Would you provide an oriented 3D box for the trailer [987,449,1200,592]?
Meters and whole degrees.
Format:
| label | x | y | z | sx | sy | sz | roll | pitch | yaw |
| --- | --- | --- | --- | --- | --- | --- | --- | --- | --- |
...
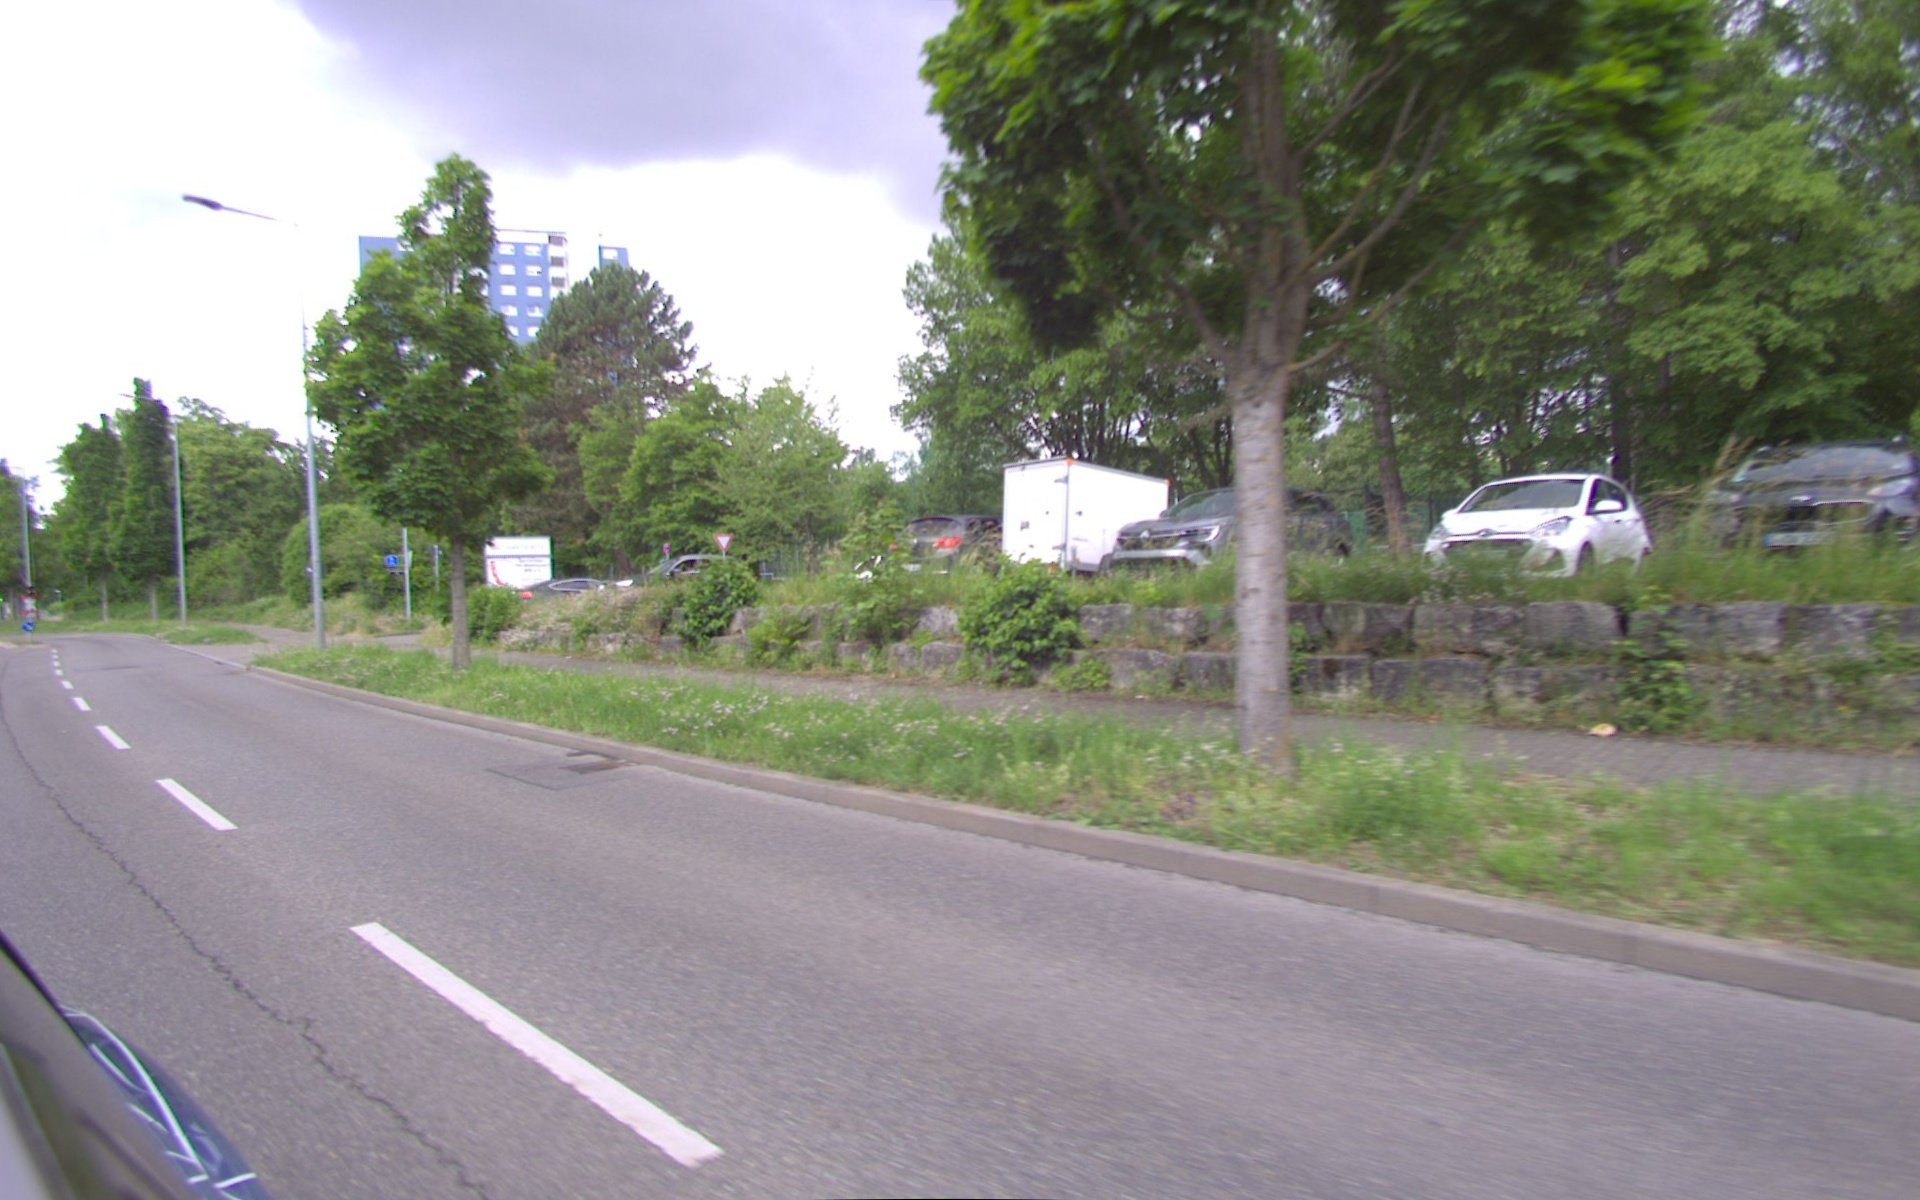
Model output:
| label | x | y | z | sx | sy | sz | roll | pitch | yaw |
| --- | --- | --- | --- | --- | --- | --- | --- | --- | --- |
| trailer | 2.245 | -1.217 | 16.593 | 3.325 | 2.073 | 1.680 | -2 | 1 | -42 |

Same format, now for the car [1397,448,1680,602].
| label | x | y | z | sx | sy | sz | roll | pitch | yaw |
| --- | --- | --- | --- | --- | --- | --- | --- | --- | --- |
| car | 7.011 | -0.831 | 12.096 | 3.986 | 1.523 | 1.783 | -3 | 1 | -42 |

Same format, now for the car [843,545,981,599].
| label | x | y | z | sx | sy | sz | roll | pitch | yaw |
| --- | --- | --- | --- | --- | --- | --- | --- | --- | --- |
| car | -1.487 | -0.818 | 30.324 | 1.970 | 1.428 | 4.052 | -3 | 1 | -43 |

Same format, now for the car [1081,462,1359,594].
| label | x | y | z | sx | sy | sz | roll | pitch | yaw |
| --- | --- | --- | --- | --- | --- | --- | --- | --- | --- |
| car | 3.850 | -0.982 | 14.647 | 3.986 | 1.596 | 2.002 | -3 | 1 | -42 |

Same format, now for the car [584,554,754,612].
| label | x | y | z | sx | sy | sz | roll | pitch | yaw |
| --- | --- | --- | --- | --- | --- | --- | --- | --- | --- |
| car | -7.974 | -0.494 | 27.890 | 3.986 | 1.428 | 2.002 | -3 | 1 | -43 |

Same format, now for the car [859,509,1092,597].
| label | x | y | z | sx | sy | sz | roll | pitch | yaw |
| --- | --- | --- | --- | --- | --- | --- | --- | --- | --- |
| car | 0.354 | -0.858 | 18.702 | 3.986 | 1.428 | 2.002 | -3 | 1 | -42 |

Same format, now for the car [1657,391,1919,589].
| label | x | y | z | sx | sy | sz | roll | pitch | yaw |
| --- | --- | --- | --- | --- | --- | --- | --- | --- | --- |
| car | 8.715 | -0.983 | 10.119 | 3.986 | 1.559 | 2.002 | -3 | 1 | -42 |
